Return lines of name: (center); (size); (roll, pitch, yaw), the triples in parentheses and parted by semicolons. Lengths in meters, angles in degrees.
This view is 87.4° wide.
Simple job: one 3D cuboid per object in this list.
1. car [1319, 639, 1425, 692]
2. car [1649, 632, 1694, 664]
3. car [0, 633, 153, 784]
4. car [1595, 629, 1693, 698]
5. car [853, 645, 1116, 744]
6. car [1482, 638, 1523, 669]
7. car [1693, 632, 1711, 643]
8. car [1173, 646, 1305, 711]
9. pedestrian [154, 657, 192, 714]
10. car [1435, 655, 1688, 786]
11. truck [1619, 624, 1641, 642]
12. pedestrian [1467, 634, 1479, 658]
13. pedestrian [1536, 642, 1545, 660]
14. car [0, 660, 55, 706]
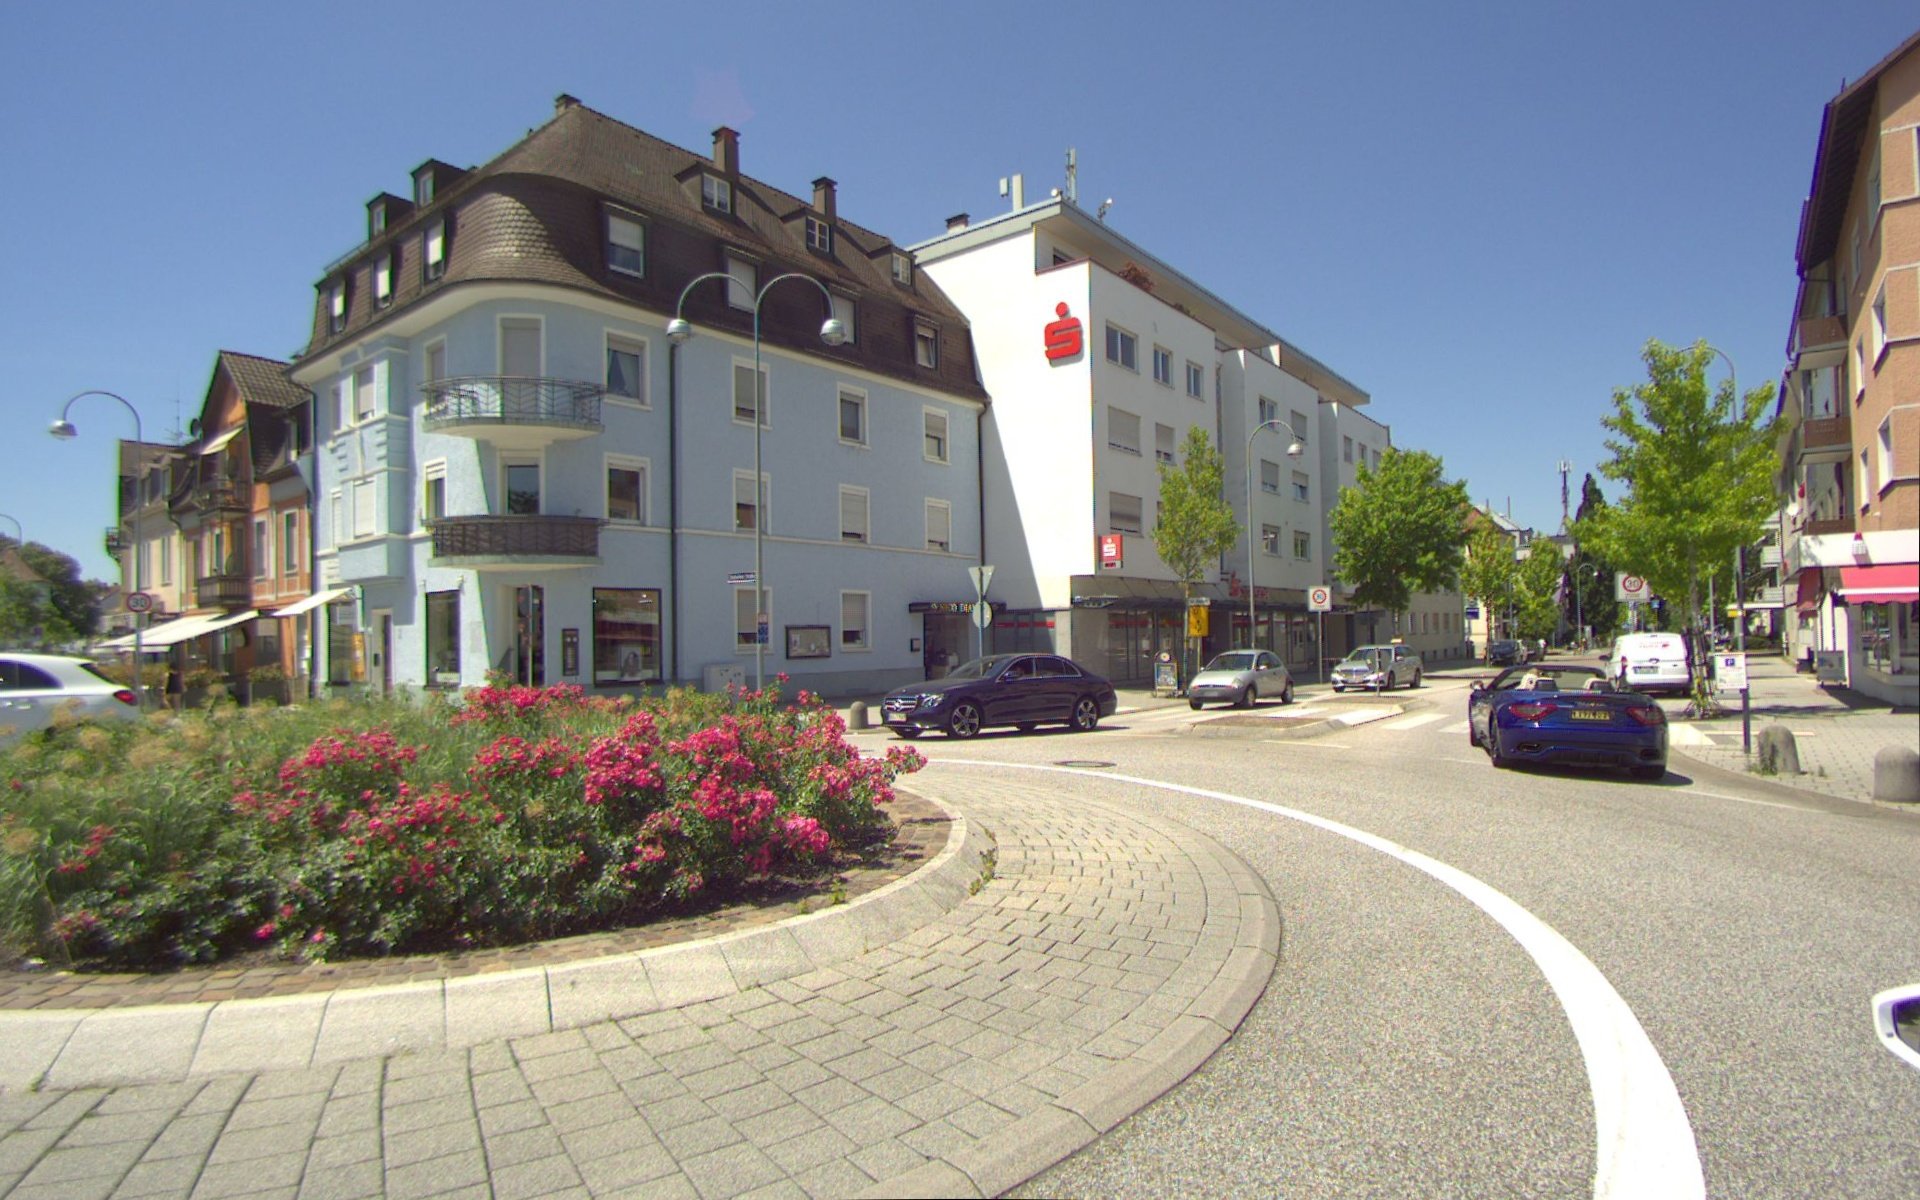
car: (13.765, 2.111, 33.397); (1.969, 1.613, 4.978); (-2, -3, 38)
car: (45.805, 3.085, 64.630); (1.971, 1.822, 4.547); (-4, -2, 40)
car: (-10.530, 1.166, 9.406); (1.903, 1.399, 4.271); (-6, -3, 37)
car: (18.970, 1.753, 28.024); (1.721, 1.746, 3.905); (-4, -4, 28)
car: (0.544, 1.637, 18.335); (4.671, 1.497, 1.977); (1, -4, -40)
car: (34.754, 3.375, 64.257); (1.706, 1.764, 4.376); (1, 0, 36)
car: (108.174, 5.406, 146.390); (1.927, 1.495, 4.121); (-4, -4, 37)
car: (7.159, 1.954, 25.561); (1.681, 1.477, 3.768); (-4, -4, 42)
pedestrian: (-22.376, 2.422, 28.564); (0.791, 1.545, 0.626); (-3, -1, 38)
car: (8.082, 1.514, 14.023); (1.943, 1.416, 4.630); (1, -2, 17)
truck: (84.141, 4.175, 126.153); (1.783, 2.145, 4.695); (-4, -3, 38)
pedestrian: (39.111, 3.506, 76.579); (0.645, 1.702, 0.631); (-4, -1, 21)
pedestrian: (49.063, 4.330, 84.921); (0.572, 1.493, 0.562); (-2, -2, 37)
car: (-35.606, 3.120, 38.077); (3.893, 1.566, 1.673); (-3, -1, 44)
